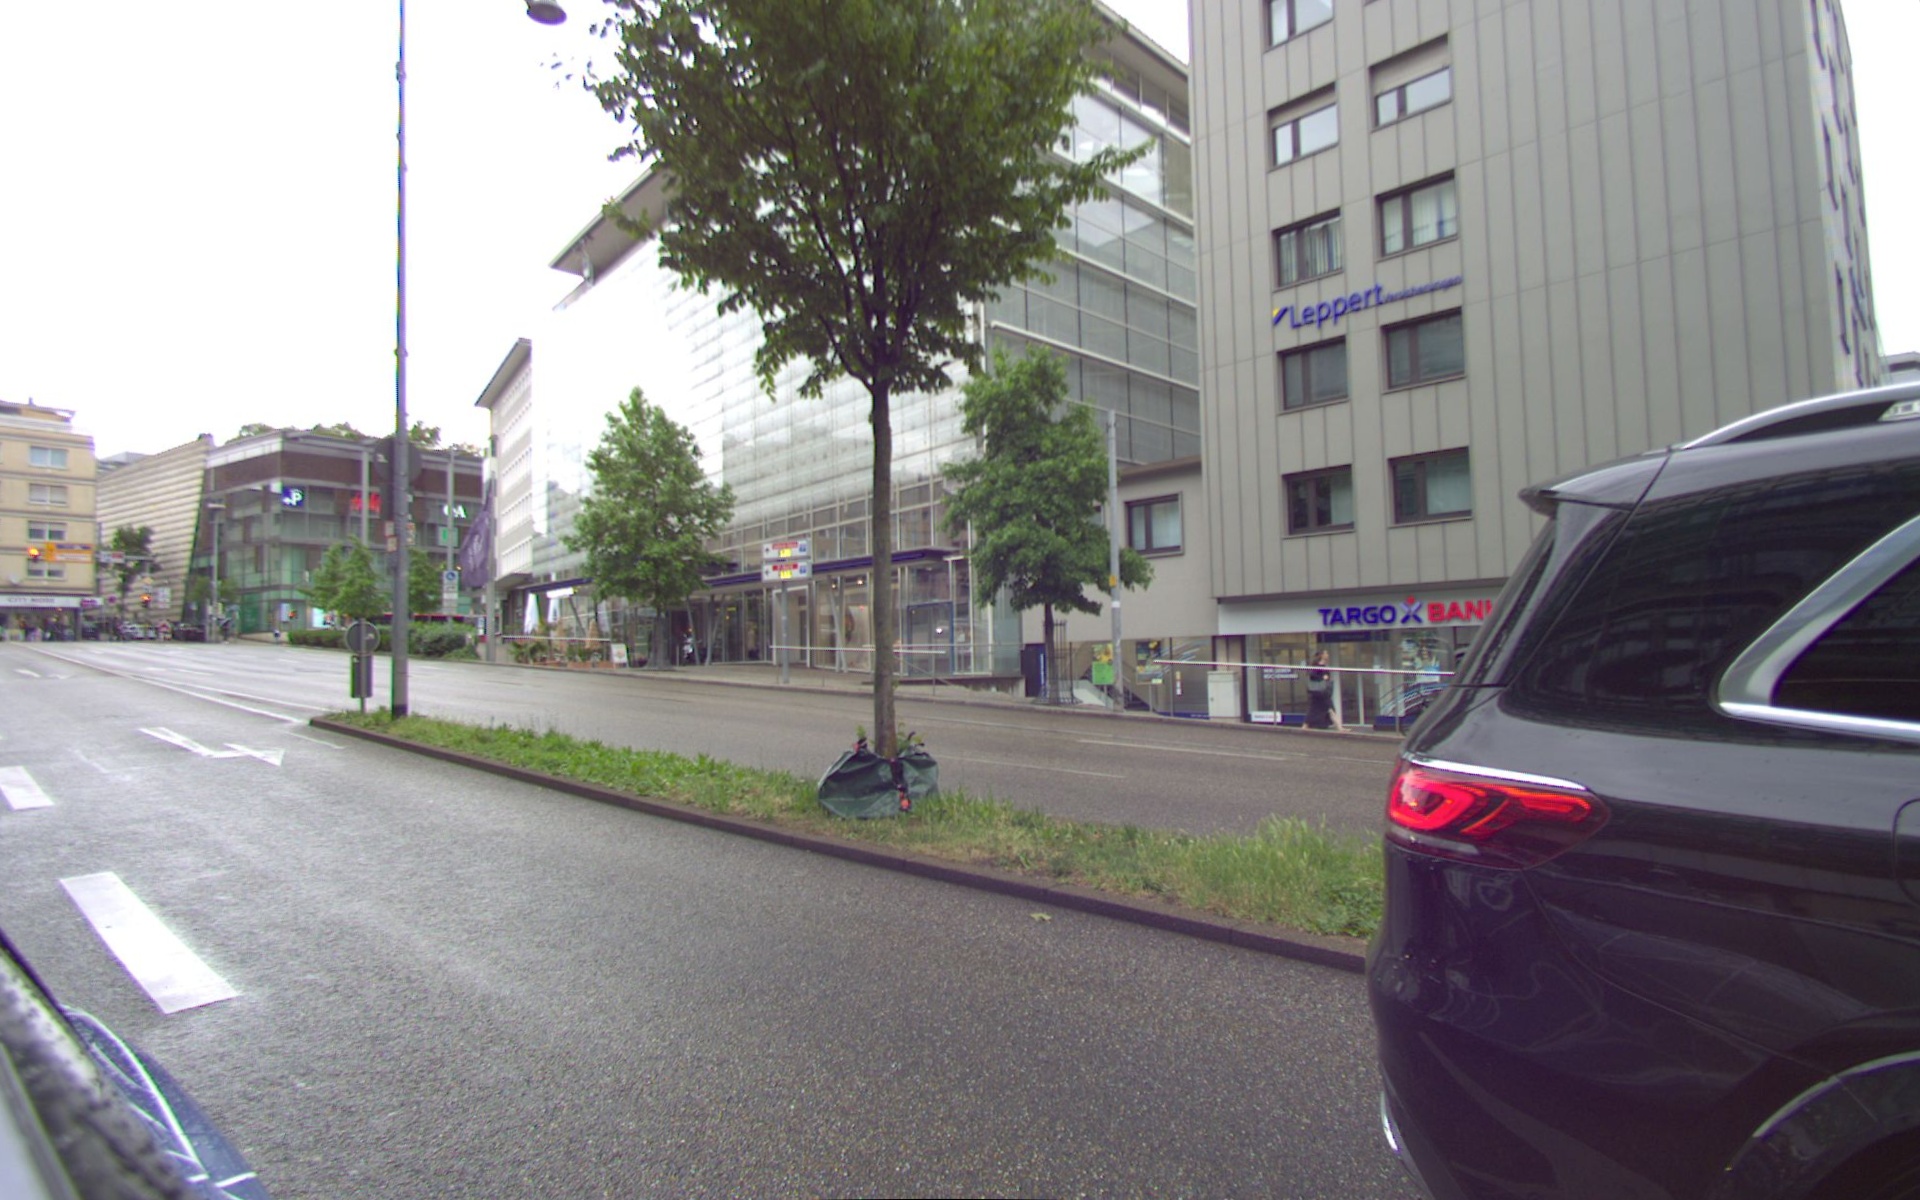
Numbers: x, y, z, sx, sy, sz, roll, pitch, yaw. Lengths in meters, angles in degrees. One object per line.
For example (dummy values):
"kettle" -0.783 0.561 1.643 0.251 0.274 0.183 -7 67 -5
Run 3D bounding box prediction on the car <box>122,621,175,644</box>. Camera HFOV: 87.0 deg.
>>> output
"car" -74.690 3.003 93.218 1.966 2.029 4.599 1 -2 -14

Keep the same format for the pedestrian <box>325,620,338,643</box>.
"pedestrian" -46.126 2.324 74.272 0.602 1.642 0.625 -1 -3 42

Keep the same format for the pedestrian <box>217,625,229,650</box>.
"pedestrian" -52.704 2.670 72.362 0.618 1.788 0.689 0 0 -45

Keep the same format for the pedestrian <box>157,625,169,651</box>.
"pedestrian" -54.951 2.615 69.788 0.617 1.788 0.689 0 0 -43

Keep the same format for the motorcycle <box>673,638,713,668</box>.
"motorcycle" -12.155 2.430 46.106 0.620 1.336 1.685 -1 -3 41

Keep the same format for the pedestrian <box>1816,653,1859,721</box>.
"pedestrian" 22.810 2.255 26.332 0.724 1.710 0.781 0 -3 34

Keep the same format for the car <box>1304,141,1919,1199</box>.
"car" 3.116 0.384 0.799 5.069 1.884 1.892 0 0 40

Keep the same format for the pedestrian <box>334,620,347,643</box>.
"pedestrian" -45.158 2.315 73.805 0.603 1.642 0.625 -1 -3 44

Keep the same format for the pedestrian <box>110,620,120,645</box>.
"pedestrian" -56.105 2.170 67.199 0.603 1.642 0.422 -1 -3 45

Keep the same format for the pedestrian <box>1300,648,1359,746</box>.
"pedestrian" 6.579 1.704 18.026 0.626 1.649 0.791 0 0 -41

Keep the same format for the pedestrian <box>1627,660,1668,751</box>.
"pedestrian" 13.242 2.012 19.504 0.634 1.649 0.781 0 0 34

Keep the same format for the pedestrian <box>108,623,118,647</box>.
"pedestrian" -57.903 2.403 69.163 0.602 1.642 0.422 -1 -3 44
